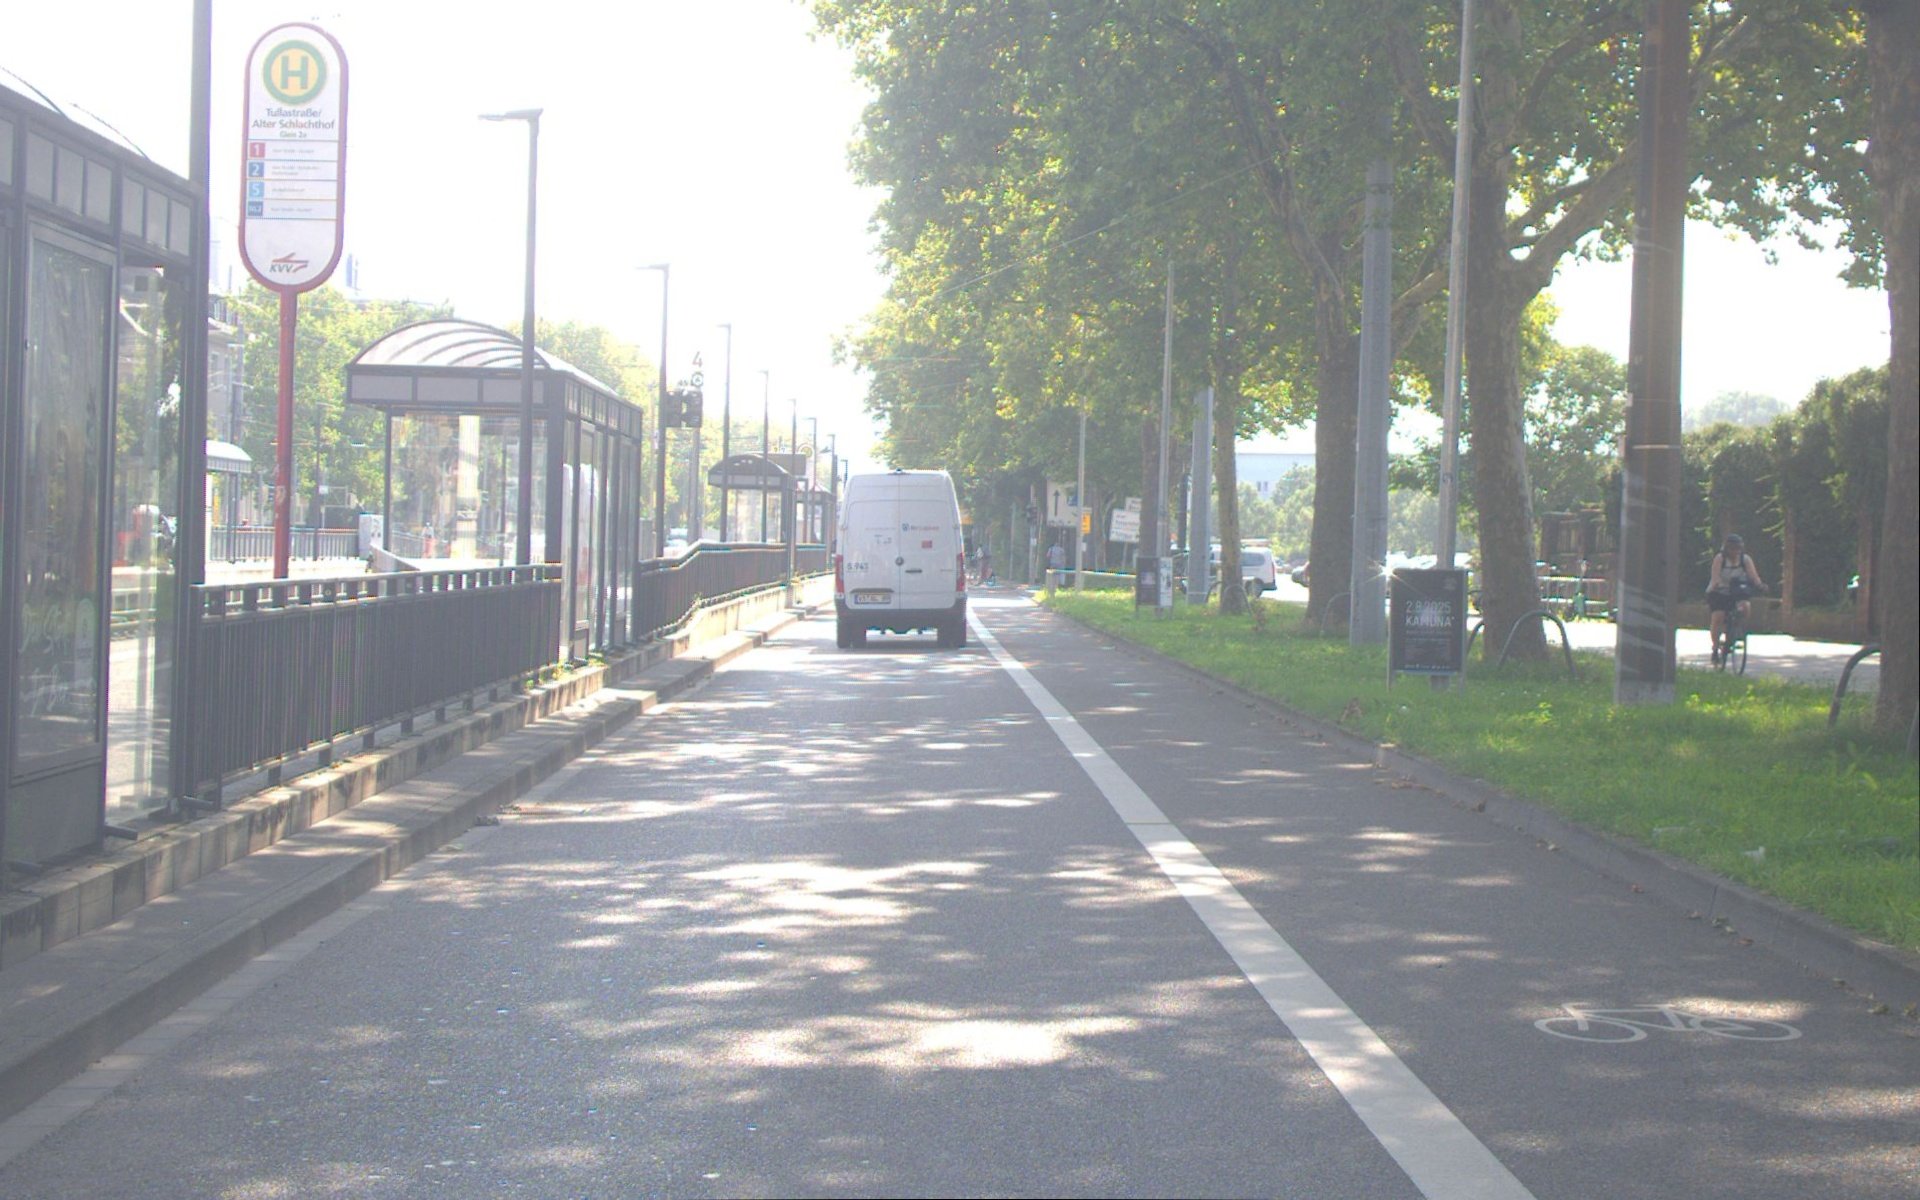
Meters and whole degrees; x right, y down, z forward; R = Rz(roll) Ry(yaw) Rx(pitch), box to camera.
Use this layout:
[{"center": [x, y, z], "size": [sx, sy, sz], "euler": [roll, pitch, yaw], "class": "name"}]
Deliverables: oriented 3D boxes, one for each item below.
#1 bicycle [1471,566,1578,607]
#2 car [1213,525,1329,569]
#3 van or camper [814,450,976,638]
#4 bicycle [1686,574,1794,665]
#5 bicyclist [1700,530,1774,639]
[{"center": [11.997, -0.288, 73.136], "size": [2.180, 0.844, 0.503], "euler": [1, 1, 0], "class": "bicycle"}, {"center": [11.417, -1.950, 126.213], "size": [3.987, 1.371, 2.000], "euler": [3, 0, -1], "class": "car"}, {"center": [-1.065, -0.876, 53.145], "size": [2.115, 2.673, 5.251], "euler": [2, 1, -4], "class": "van or camper"}, {"center": [9.154, 0.218, 40.425], "size": [0.681, 1.001, 2.218], "euler": [1, 1, -2], "class": "bicycle"}, {"center": [9.160, -0.187, 40.527], "size": [0.669, 1.272, 0.728], "euler": [1, 1, -2], "class": "bicyclist"}]
